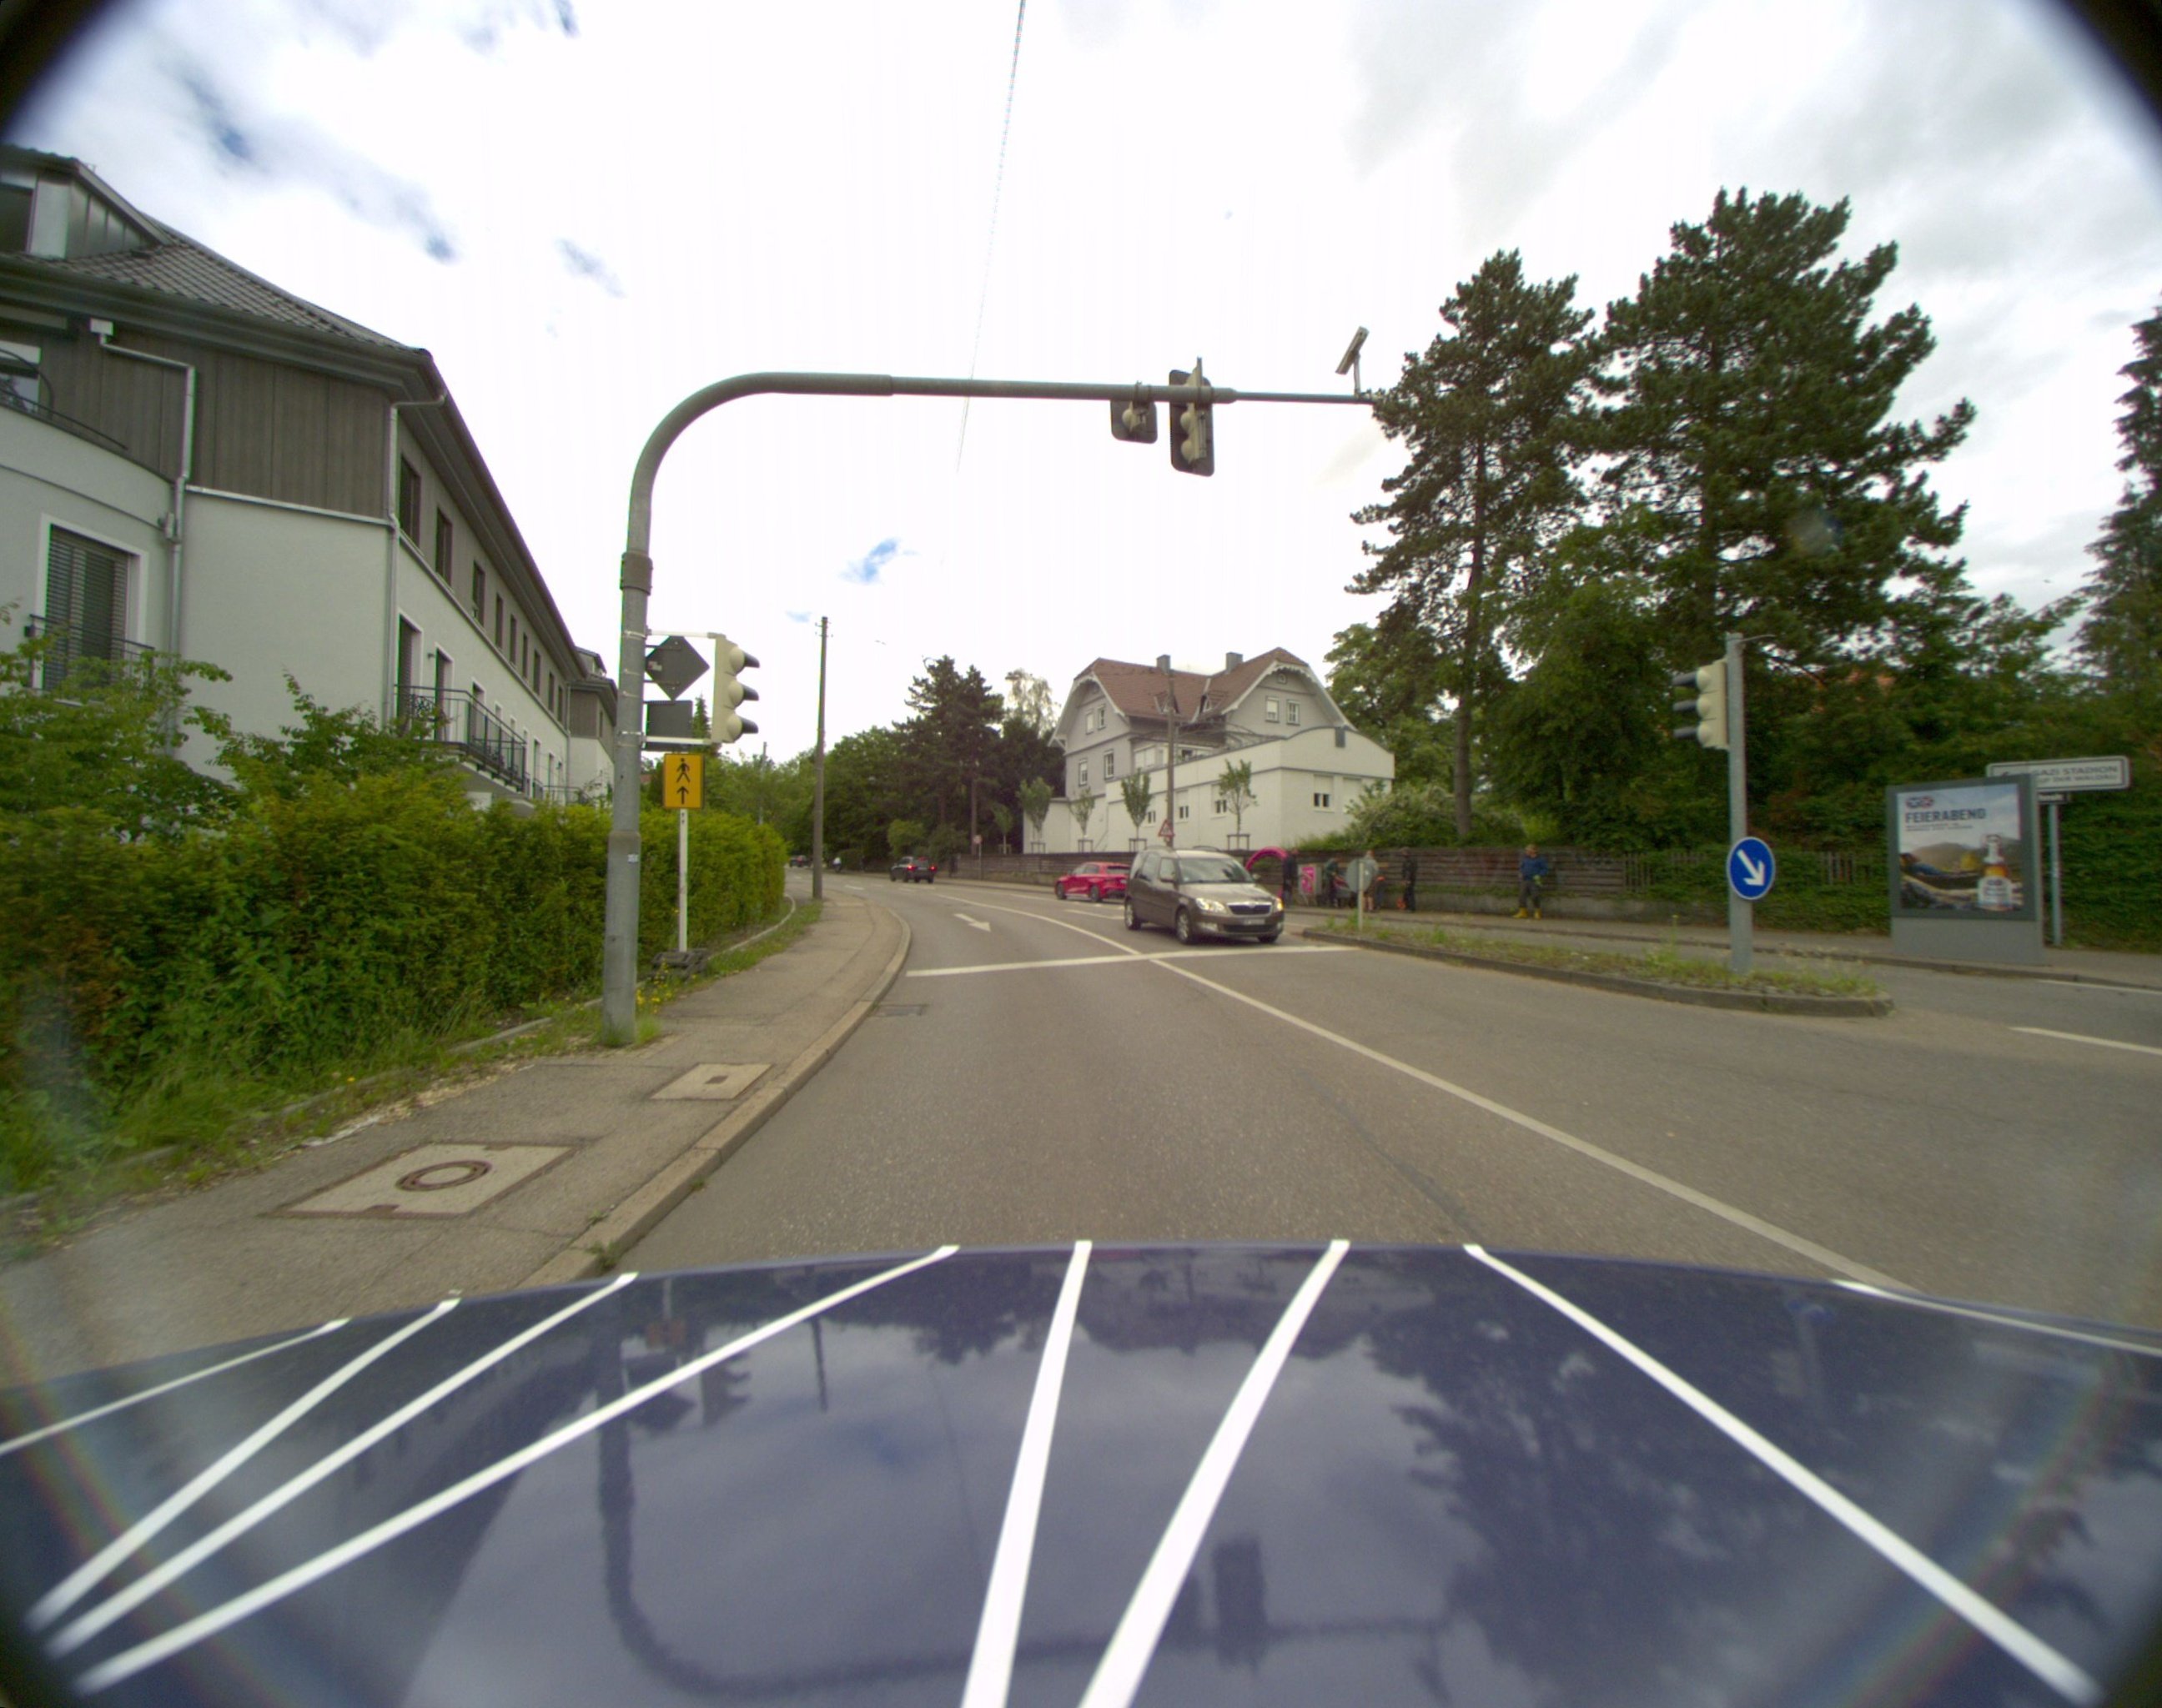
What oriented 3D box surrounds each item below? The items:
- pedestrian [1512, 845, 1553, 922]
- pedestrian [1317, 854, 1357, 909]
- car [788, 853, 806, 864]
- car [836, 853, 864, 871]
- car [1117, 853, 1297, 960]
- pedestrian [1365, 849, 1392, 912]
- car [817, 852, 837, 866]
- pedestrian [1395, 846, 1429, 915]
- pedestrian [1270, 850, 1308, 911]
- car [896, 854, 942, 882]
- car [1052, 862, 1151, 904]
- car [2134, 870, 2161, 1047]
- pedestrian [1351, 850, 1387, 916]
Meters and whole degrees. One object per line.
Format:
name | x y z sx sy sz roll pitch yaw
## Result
pedestrian | 10.984 0.702 18.481 0.680 1.824 0.611 1 0 -34
pedestrian | 7.739 0.812 22.965 0.882 1.643 0.749 0 0 -32
car | -40.361 0.690 107.963 2.003 1.509 3.992 1 0 -25
car | -22.931 0.803 75.443 1.935 1.669 3.562 2 -1 -28
car | 2.035 0.785 13.452 1.619 1.571 3.996 -1 0 -15
pedestrian | 8.598 0.749 21.939 0.510 1.802 0.503 1 0 -32
car | -30.045 0.617 89.857 1.685 1.619 3.612 2 -1 -28
pedestrian | 8.969 0.717 20.587 0.605 1.824 0.611 1 0 -34
pedestrian | 6.307 0.781 23.040 0.882 1.803 0.686 0 0 -32
car | -10.384 0.883 48.446 1.935 1.669 3.562 2 -1 -28
car | 0.663 1.005 27.558 1.811 1.348 3.991 2 -1 -28
car | 9.553 0.816 3.669 1.998 1.414 5.058 0 0 1
pedestrian | 7.969 0.797 21.040 0.614 1.777 0.665 1 0 -32
